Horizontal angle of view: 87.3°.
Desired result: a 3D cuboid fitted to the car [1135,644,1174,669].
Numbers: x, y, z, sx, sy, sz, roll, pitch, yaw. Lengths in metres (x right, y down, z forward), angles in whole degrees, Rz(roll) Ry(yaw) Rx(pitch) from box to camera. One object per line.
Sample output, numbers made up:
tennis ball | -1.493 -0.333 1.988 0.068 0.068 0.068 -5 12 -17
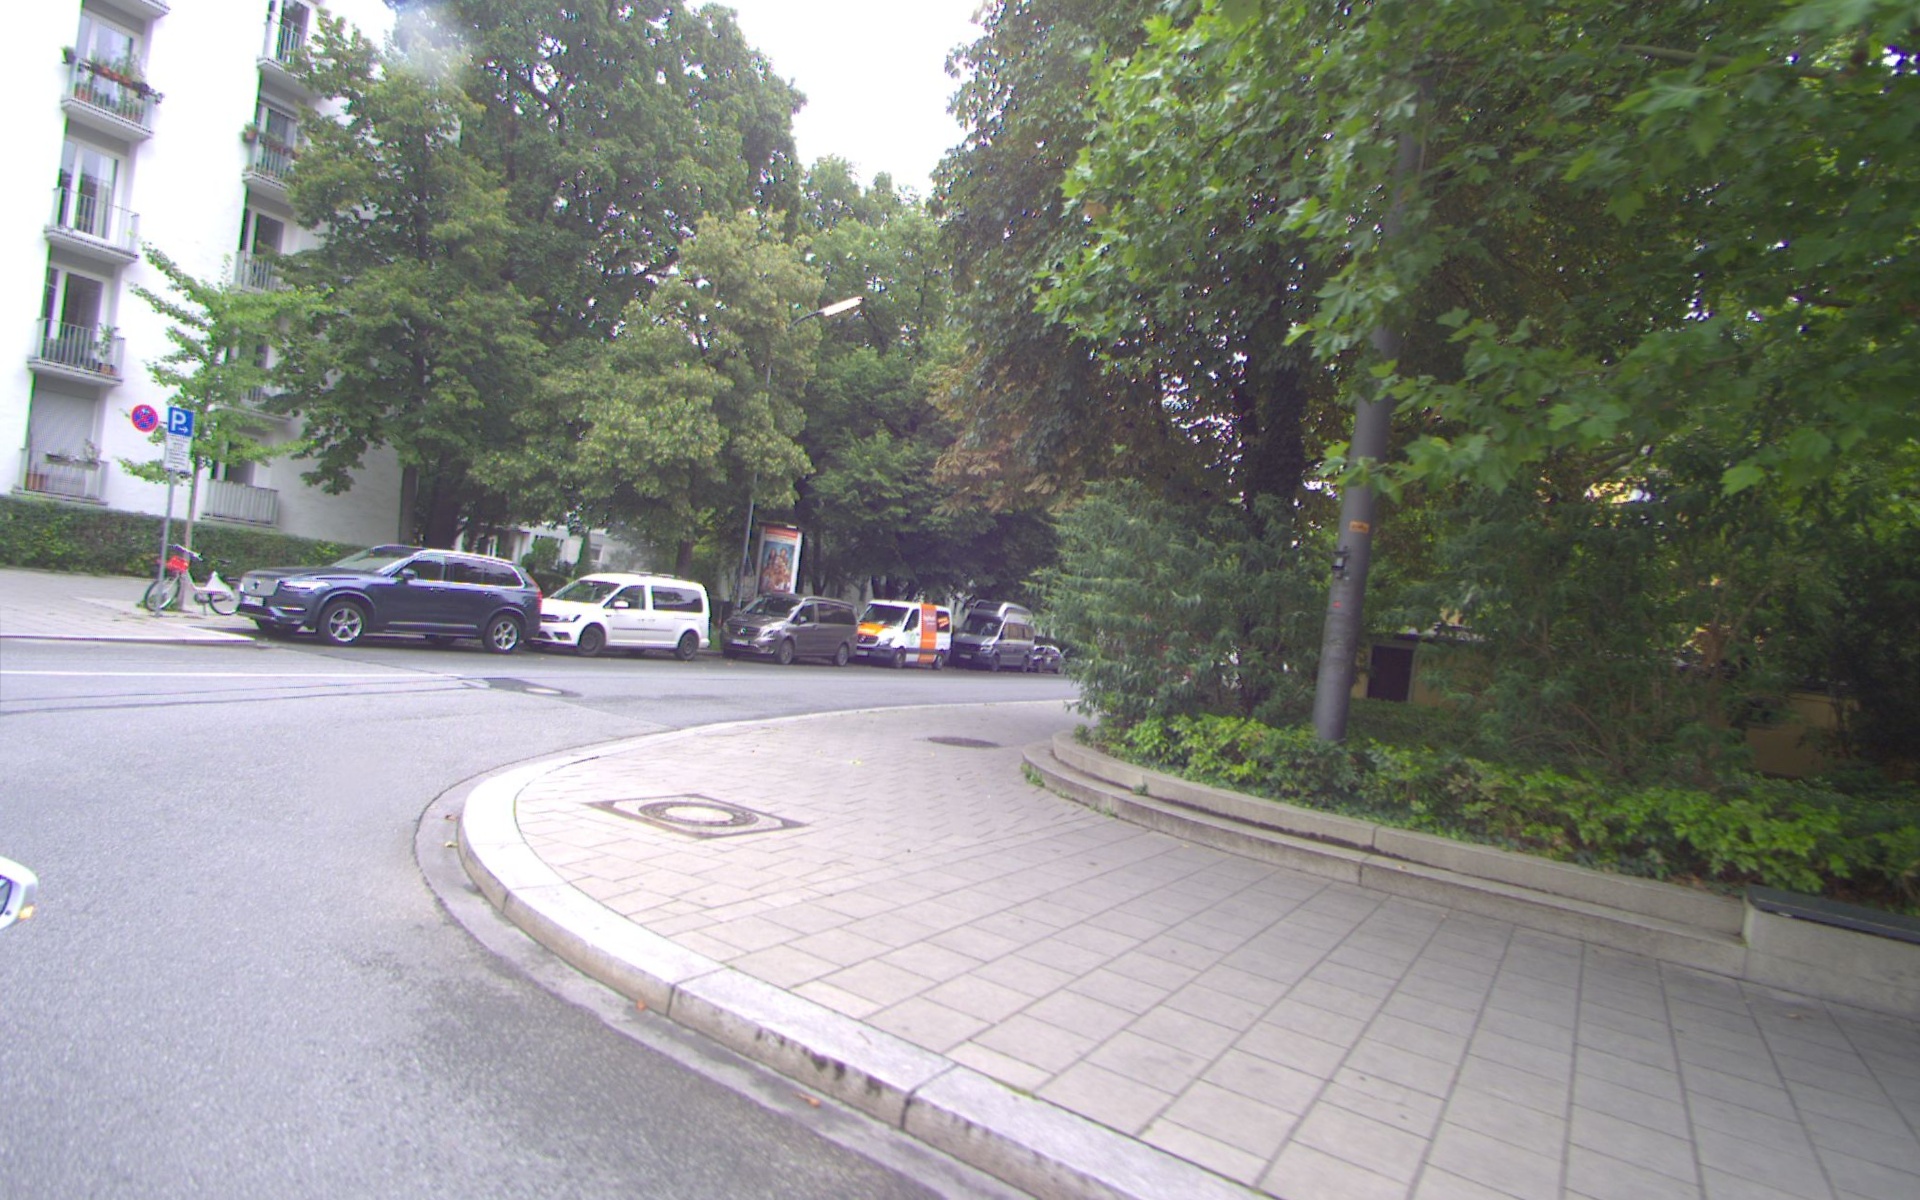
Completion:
car | 13.918 4.045 71.860 1.824 1.491 4.000 7 -1 23

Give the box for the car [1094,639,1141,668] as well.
car | 9.683 3.311 61.672 1.824 1.491 4.000 7 -1 22

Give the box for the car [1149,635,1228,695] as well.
car | 8.546 2.434 37.306 1.961 1.861 4.714 6 -1 22

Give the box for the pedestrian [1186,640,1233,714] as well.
pedestrian | 6.733 2.063 27.152 0.861 1.853 1.051 7 0 24

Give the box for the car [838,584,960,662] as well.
car | -2.020 0.887 35.100 1.917 2.299 5.243 6 -1 23

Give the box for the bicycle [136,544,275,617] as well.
bicycle | -12.662 -0.299 16.947 0.482 1.061 1.831 7 0 19

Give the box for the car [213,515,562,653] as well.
car | -9.618 -0.158 17.447 1.964 1.813 4.911 6 -1 25

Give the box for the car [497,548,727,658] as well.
car | -7.495 0.165 22.262 1.803 1.941 4.847 6 -1 24

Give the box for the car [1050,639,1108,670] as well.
car | 6.381 2.932 53.619 1.846 1.363 4.000 7 -1 23

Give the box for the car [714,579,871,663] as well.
car | -4.604 0.684 28.611 1.859 1.956 5.209 6 -1 21

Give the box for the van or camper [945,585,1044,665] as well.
van or camper | 1.597 1.177 43.277 1.971 2.980 6.010 6 -1 23

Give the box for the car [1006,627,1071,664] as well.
car | 3.843 2.244 48.778 1.846 1.433 4.000 7 -1 23
